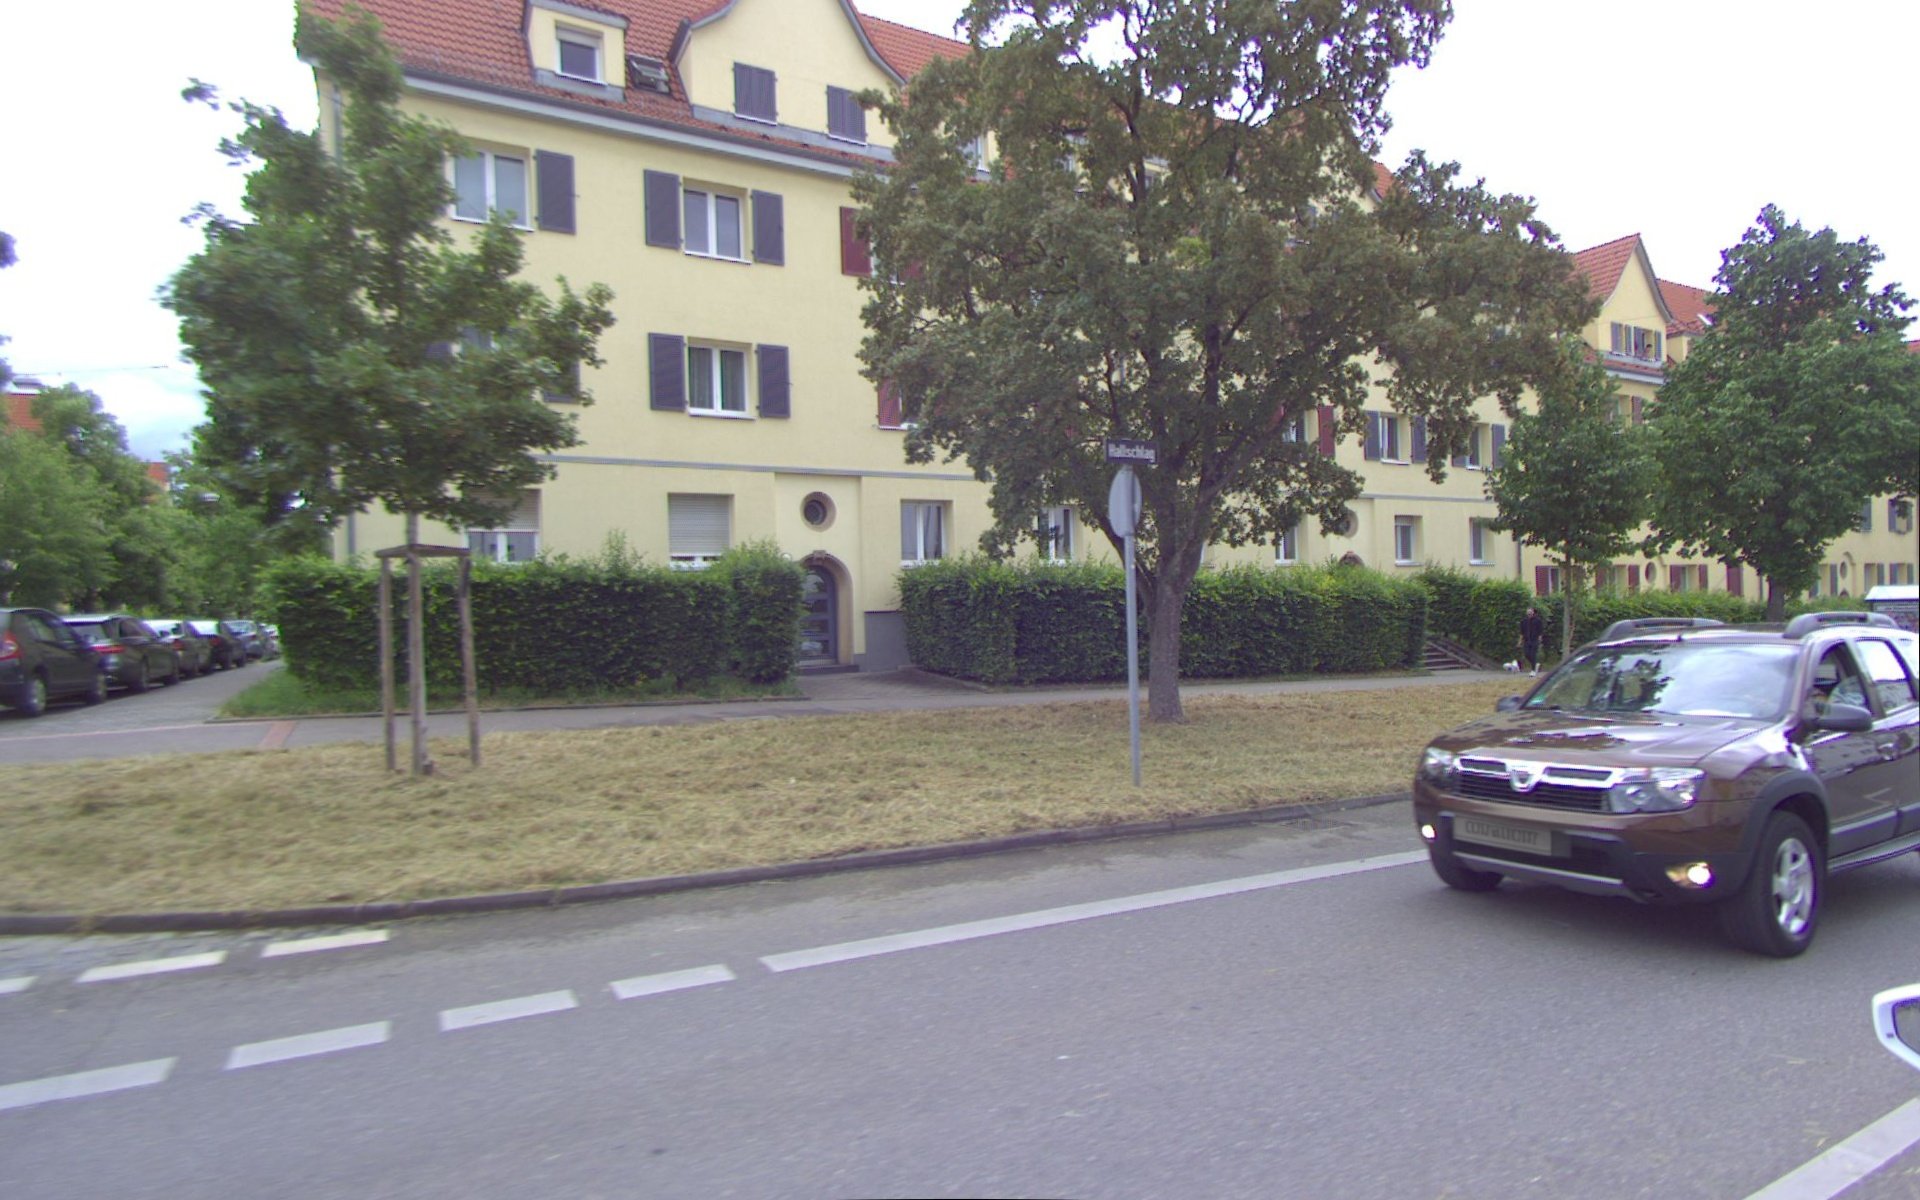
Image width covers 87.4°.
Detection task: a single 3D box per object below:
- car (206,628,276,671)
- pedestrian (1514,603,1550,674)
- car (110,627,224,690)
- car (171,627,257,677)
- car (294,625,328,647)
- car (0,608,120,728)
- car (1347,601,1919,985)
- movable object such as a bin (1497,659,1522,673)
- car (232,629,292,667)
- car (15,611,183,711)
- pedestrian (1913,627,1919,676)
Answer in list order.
[{"bbox_3d":[-24.572,1.650,34.415,1.523,1.255,3.399,-3,1,-29],"label":"car"},{"bbox_3d":[14.714,0.974,25.834,0.744,1.803,0.511,0,-1,-30],"label":"pedestrian"},{"bbox_3d":[-18.641,1.315,23.749,1.523,1.255,3.399,-3,1,-29],"label":"car"},{"bbox_3d":[-21.707,1.467,29.337,1.523,1.255,3.399,-3,1,-29],"label":"car"},{"bbox_3d":[-41.193,2.284,63.771,1.523,1.255,3.399,-3,1,-29],"label":"car"},{"bbox_3d":[-13.888,0.959,14.701,1.670,1.550,3.887,-3,1,-29],"label":"car"},{"bbox_3d":[4.631,0.876,6.199,4.308,1.641,1.891,1,-1,-29],"label":"car"},{"bbox_3d":[14.502,1.744,26.525,0.573,0.352,0.305,0,-1,-24],"label":"movable object such as a bin"},{"bbox_3d":[-26.928,1.813,38.848,1.523,1.255,3.399,-3,1,-29],"label":"car"},{"bbox_3d":[-15.739,1.039,18.557,1.601,1.550,3.634,-3,1,-29],"label":"car"},{"bbox_3d":[30.154,1.603,30.965,0.796,1.530,0.895,0,0,-29],"label":"pedestrian"}]
